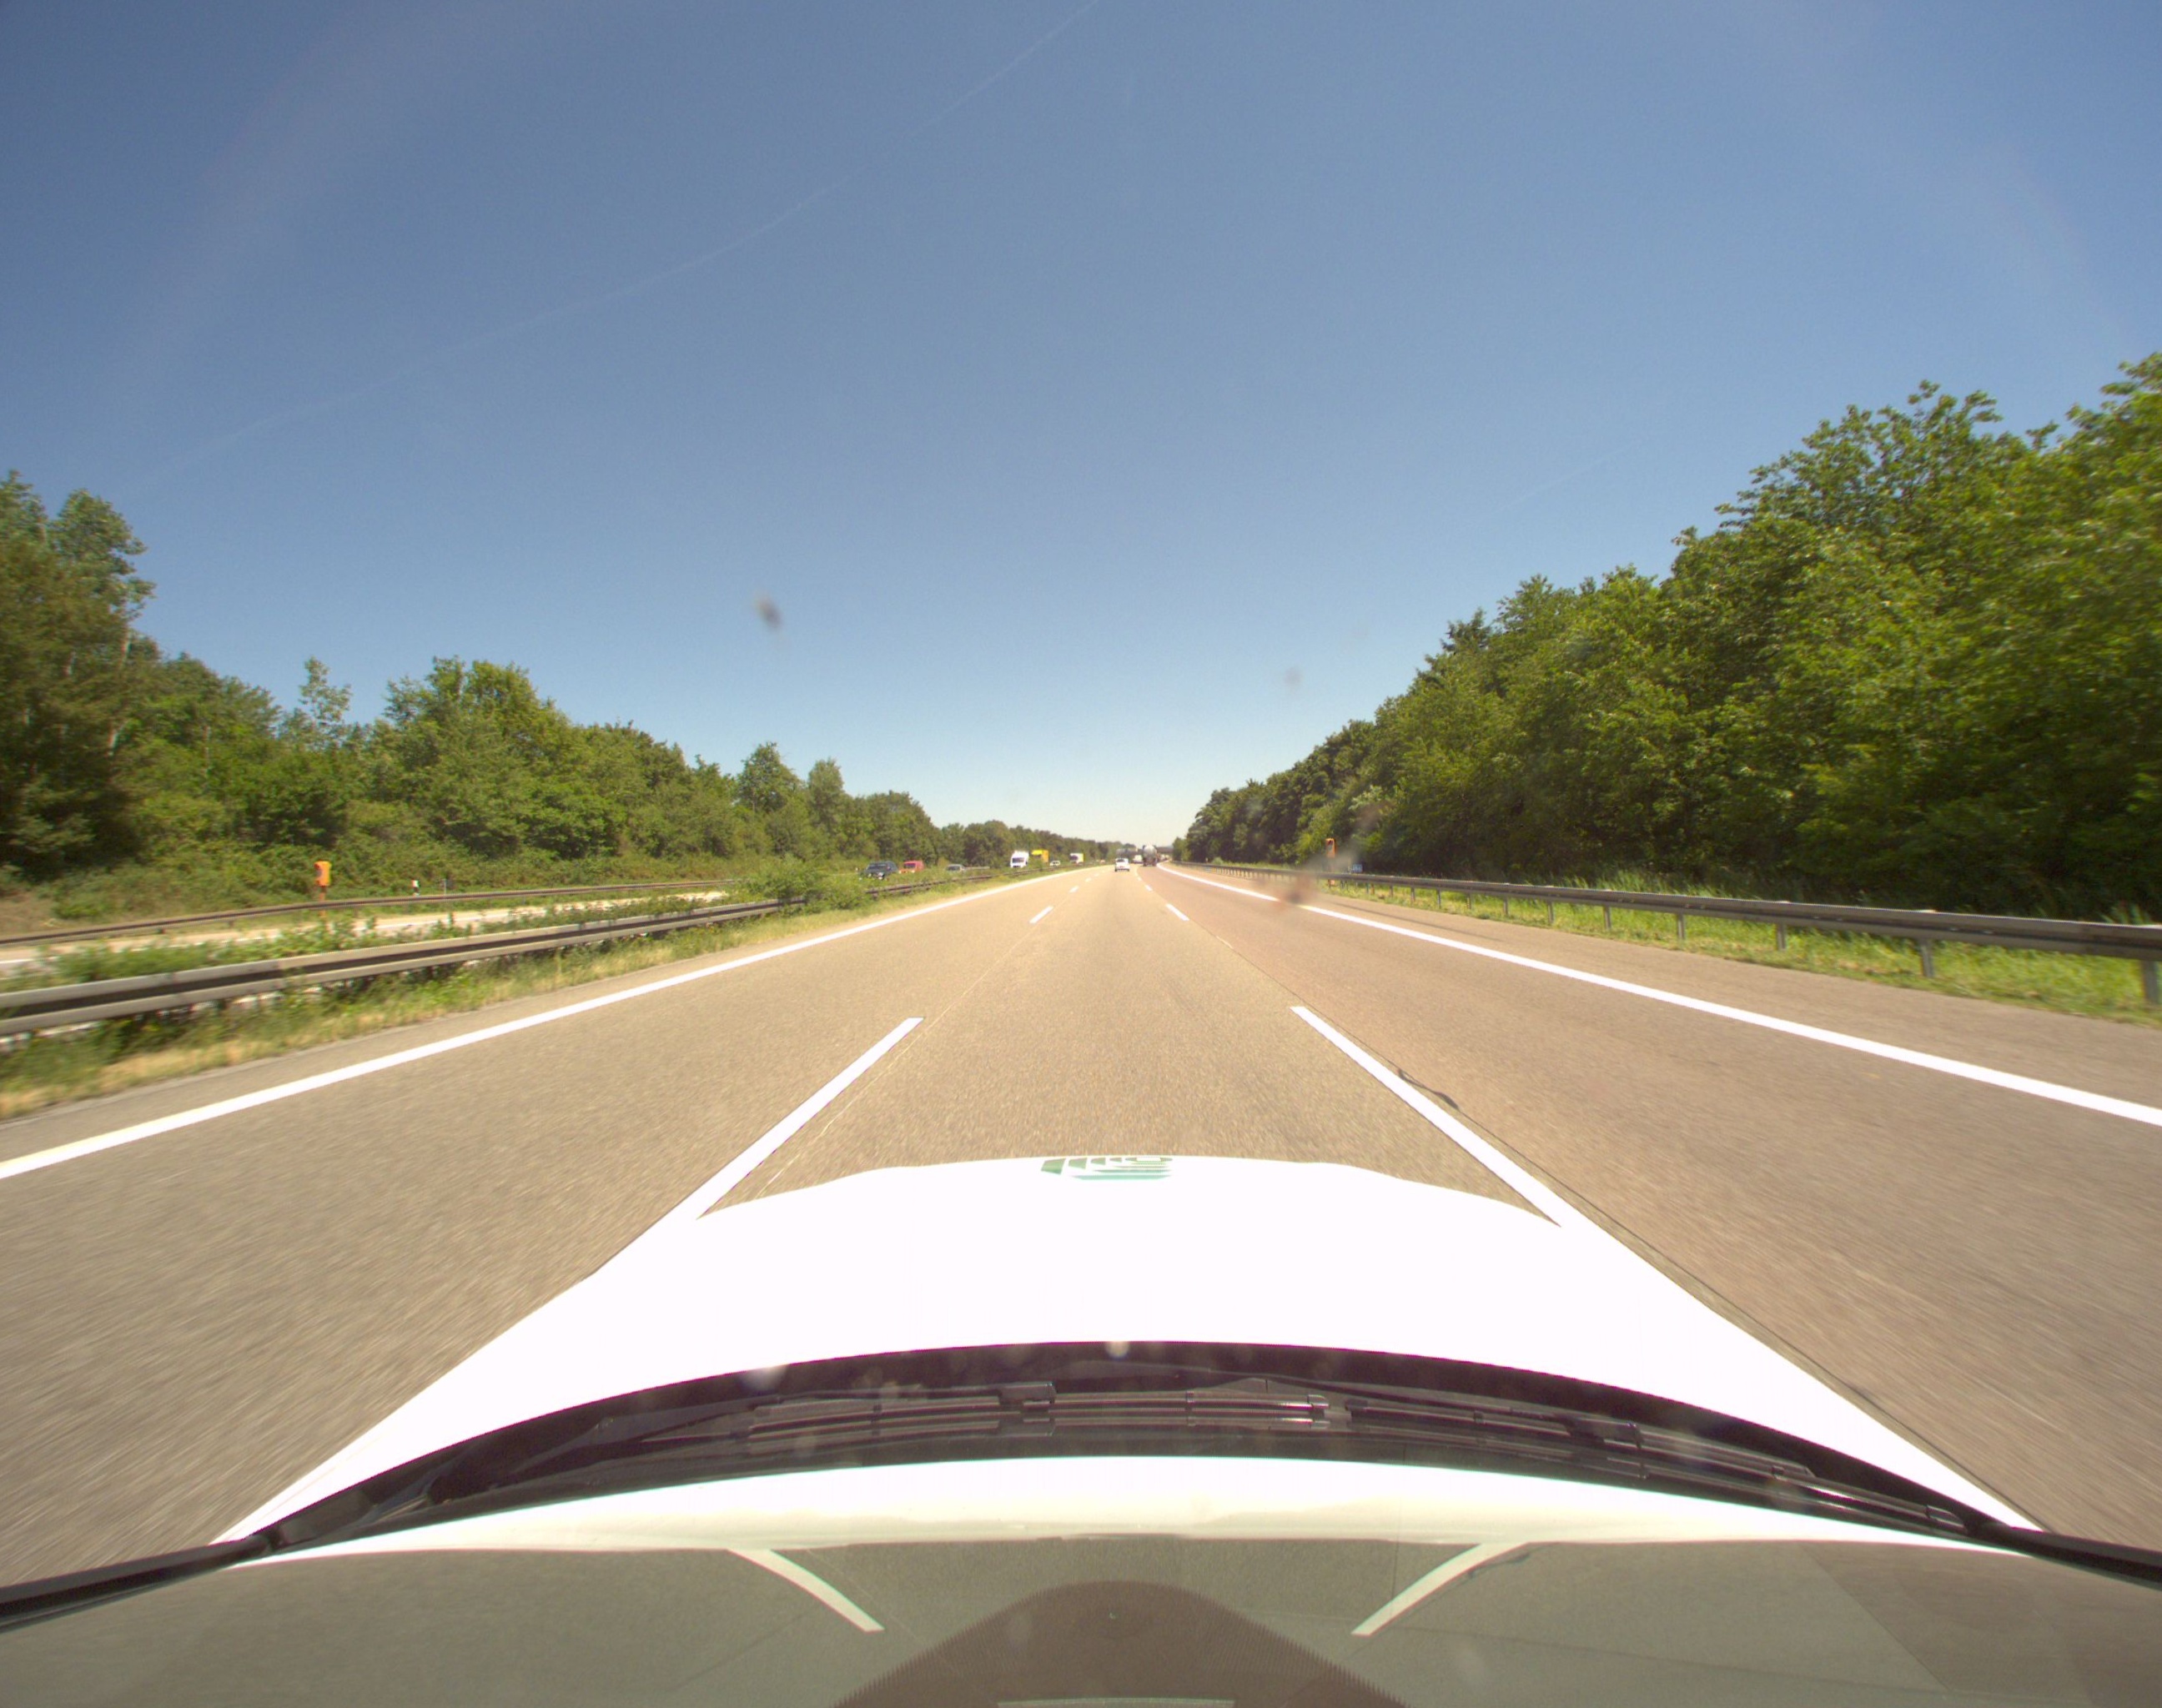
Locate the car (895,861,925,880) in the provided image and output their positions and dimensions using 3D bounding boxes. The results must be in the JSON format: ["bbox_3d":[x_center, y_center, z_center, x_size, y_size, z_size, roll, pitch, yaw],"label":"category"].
[{"bbox_3d":[-17.068,1.642,81.417,1.696,1.776,4.772,-1,0,4],"label":"car"}]

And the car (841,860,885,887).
[{"bbox_3d":[-15.037,1.313,56.427,1.659,1.754,4.004,-1,0,4],"label":"car"}]

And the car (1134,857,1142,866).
[{"bbox_3d":[16.543,2.167,236.178,1.984,2.343,4.392,-1,0,4],"label":"car"}]

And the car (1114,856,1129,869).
[{"bbox_3d":[4.764,0.978,95.503,1.620,1.479,4.003,-2,-1,3],"label":"car"}]

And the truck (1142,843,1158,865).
[{"bbox_3d":[13.313,-0.020,156.487,2.726,4.052,10.470,-2,-1,5],"label":"truck"}]

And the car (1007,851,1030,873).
[{"bbox_3d":[-8.060,1.013,105.652,2.079,2.779,5.833,-1,0,3],"label":"car"}]
